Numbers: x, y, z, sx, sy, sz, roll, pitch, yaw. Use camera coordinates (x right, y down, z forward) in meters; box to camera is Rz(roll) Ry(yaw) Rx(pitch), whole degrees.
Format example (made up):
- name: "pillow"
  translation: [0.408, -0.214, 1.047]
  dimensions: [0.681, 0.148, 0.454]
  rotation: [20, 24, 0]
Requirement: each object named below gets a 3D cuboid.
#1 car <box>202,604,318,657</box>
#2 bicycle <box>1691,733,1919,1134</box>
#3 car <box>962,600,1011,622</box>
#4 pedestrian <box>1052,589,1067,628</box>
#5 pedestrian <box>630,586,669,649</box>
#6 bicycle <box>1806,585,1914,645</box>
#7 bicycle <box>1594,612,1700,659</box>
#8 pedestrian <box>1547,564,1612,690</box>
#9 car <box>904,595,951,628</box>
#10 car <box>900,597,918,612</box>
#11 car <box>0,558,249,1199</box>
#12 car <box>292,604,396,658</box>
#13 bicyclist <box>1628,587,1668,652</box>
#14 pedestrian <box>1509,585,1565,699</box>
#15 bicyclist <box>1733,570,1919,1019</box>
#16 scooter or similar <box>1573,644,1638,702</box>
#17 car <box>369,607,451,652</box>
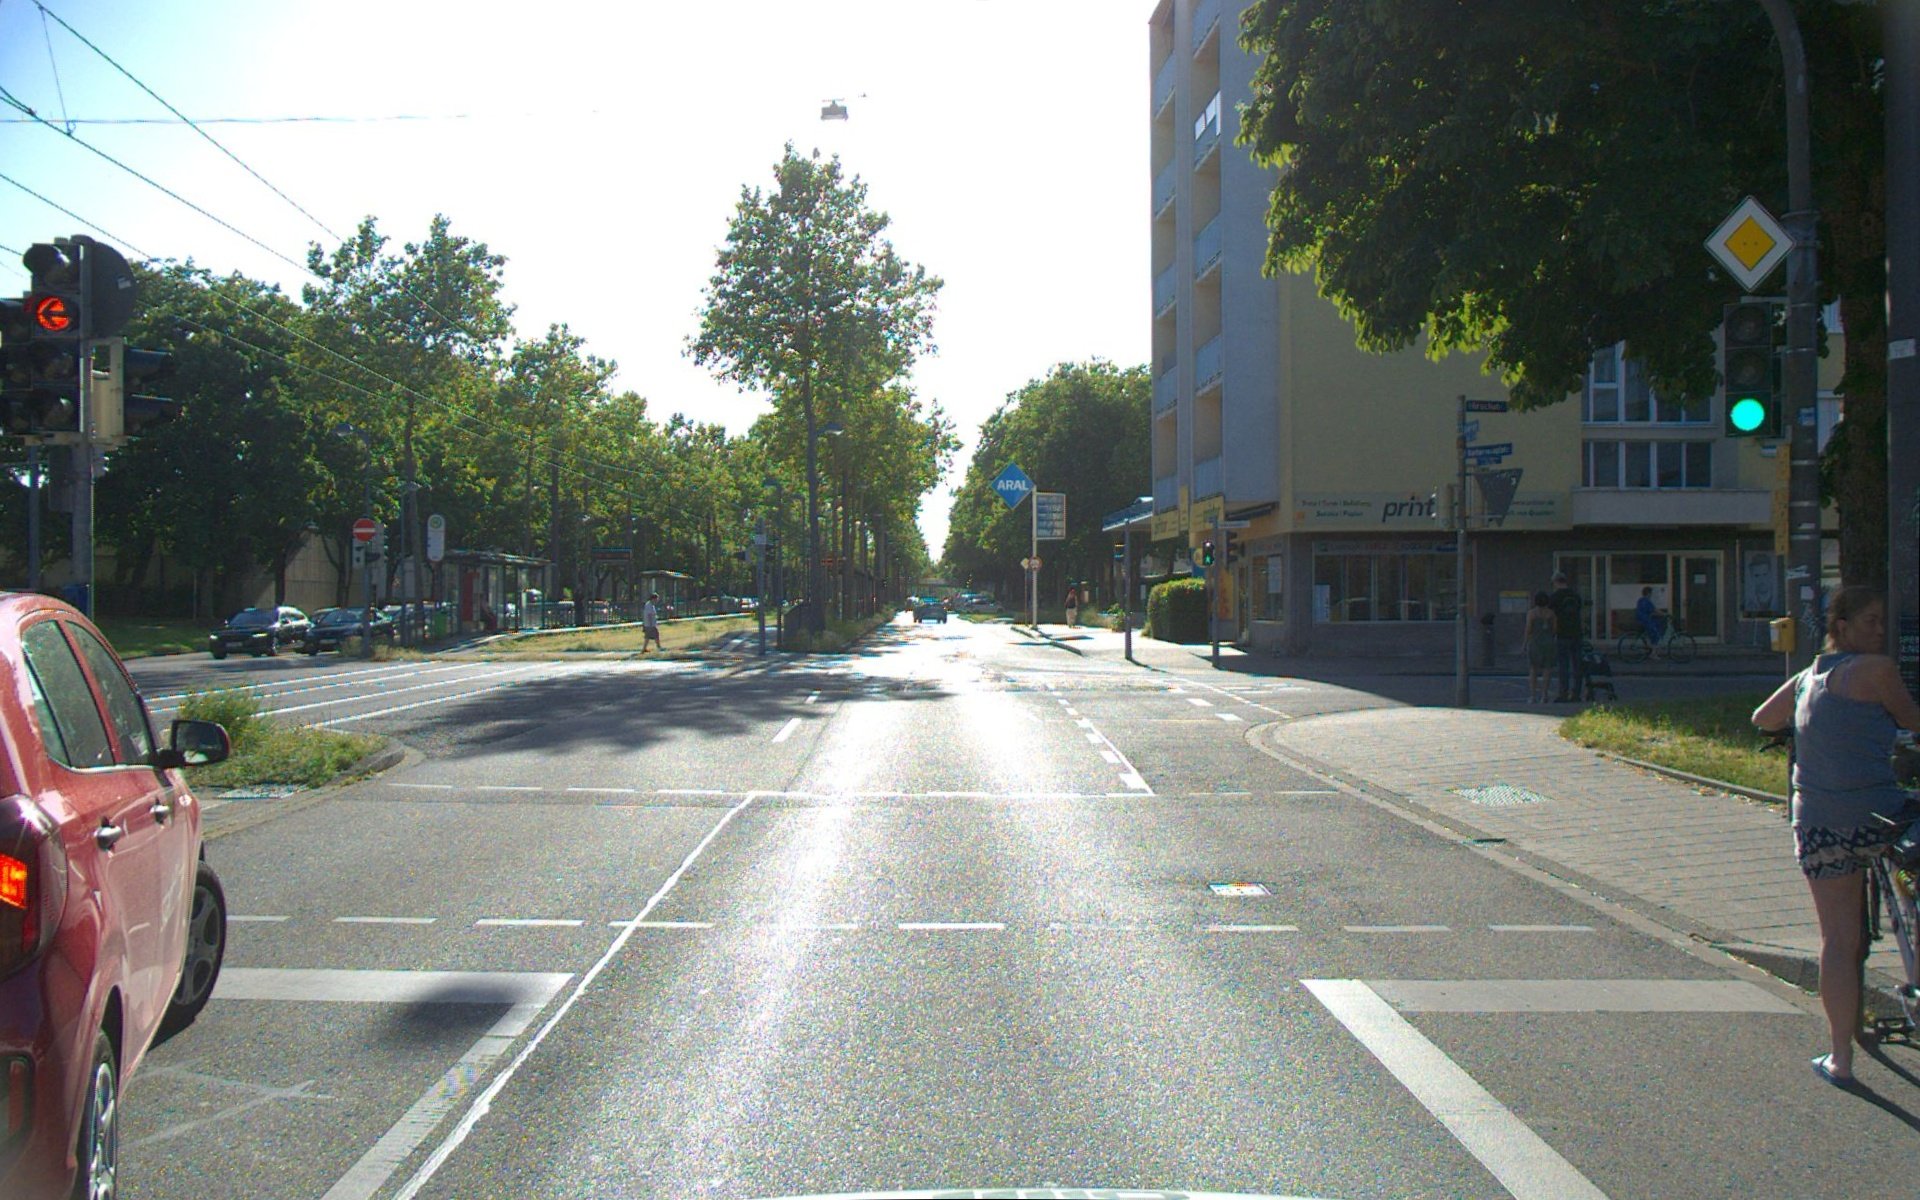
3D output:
- name: "car"
  translation: [-21.424, 0.902, 50.776]
  dimensions: [1.770, 1.560, 4.360]
  rotation: [0, 0, -1]
- name: "bicycle"
  translation: [3.017, 0.999, 5.227]
  dimensions: [0.634, 0.989, 1.804]
  rotation: [2, 0, 2]
- name: "car"
  translation: [2.337, 0.960, 146.505]
  dimensions: [3.944, 1.780, 1.738]
  rotation: [2, 0, -30]
- name: "pedestrian"
  translation: [4.624, 0.408, 76.792]
  dimensions: [0.562, 1.778, 0.506]
  rotation: [2, 0, -2]
- name: "pedestrian"
  translation: [-8.280, 0.474, 44.172]
  dimensions: [0.873, 1.634, 0.613]
  rotation: [2, 0, -1]
- name: "bicycle"
  translation: [22.865, 0.379, 42.025]
  dimensions: [2.420, 1.424, 0.608]
  rotation: [2, 0, -3]
- name: "bicycle"
  translation: [16.264, 0.832, 39.226]
  dimensions: [2.203, 1.004, 0.790]
  rotation: [1, 5, 14]
- name: "pedestrian"
  translation: [8.638, 0.366, 23.071]
  dimensions: [0.714, 1.711, 0.533]
  rotation: [2, 0, 11]
- name: "car"
  translation: [-2.013, 0.694, 102.342]
  dimensions: [1.972, 1.892, 3.985]
  rotation: [2, 0, -15]
- name: "car"
  translation: [-5.710, 0.510, 184.190]
  dimensions: [1.856, 1.639, 4.498]
  rotation: [2, 0, -2]
- name: "car"
  translation: [-2.906, 0.658, 4.390]
  dimensions: [1.670, 1.534, 3.676]
  rotation: [2, 0, -21]
- name: "car"
  translation: [-19.000, 0.928, 51.183]
  dimensions: [1.653, 1.560, 4.360]
  rotation: [0, 0, -1]
- name: "bicyclist"
  translation: [16.309, 0.458, 39.221]
  dimensions: [0.752, 1.496, 0.899]
  rotation: [-1, 1, 16]
- name: "pedestrian"
  translation: [8.032, 0.575, 23.042]
  dimensions: [0.633, 1.549, 0.496]
  rotation: [2, 0, 11]
- name: "bicyclist"
  translation: [3.032, 0.594, 5.387]
  dimensions: [0.625, 1.346, 0.803]
  rotation: [2, 0, 1]
- name: "scooter or similar"
  translation: [8.796, 0.989, 22.551]
  dimensions: [0.586, 0.750, 0.681]
  rotation: [2, 0, -2]
- name: "car"
  translation: [-19.005, 1.001, 57.266]
  dimensions: [1.534, 1.426, 3.914]
  rotation: [2, 0, -1]
